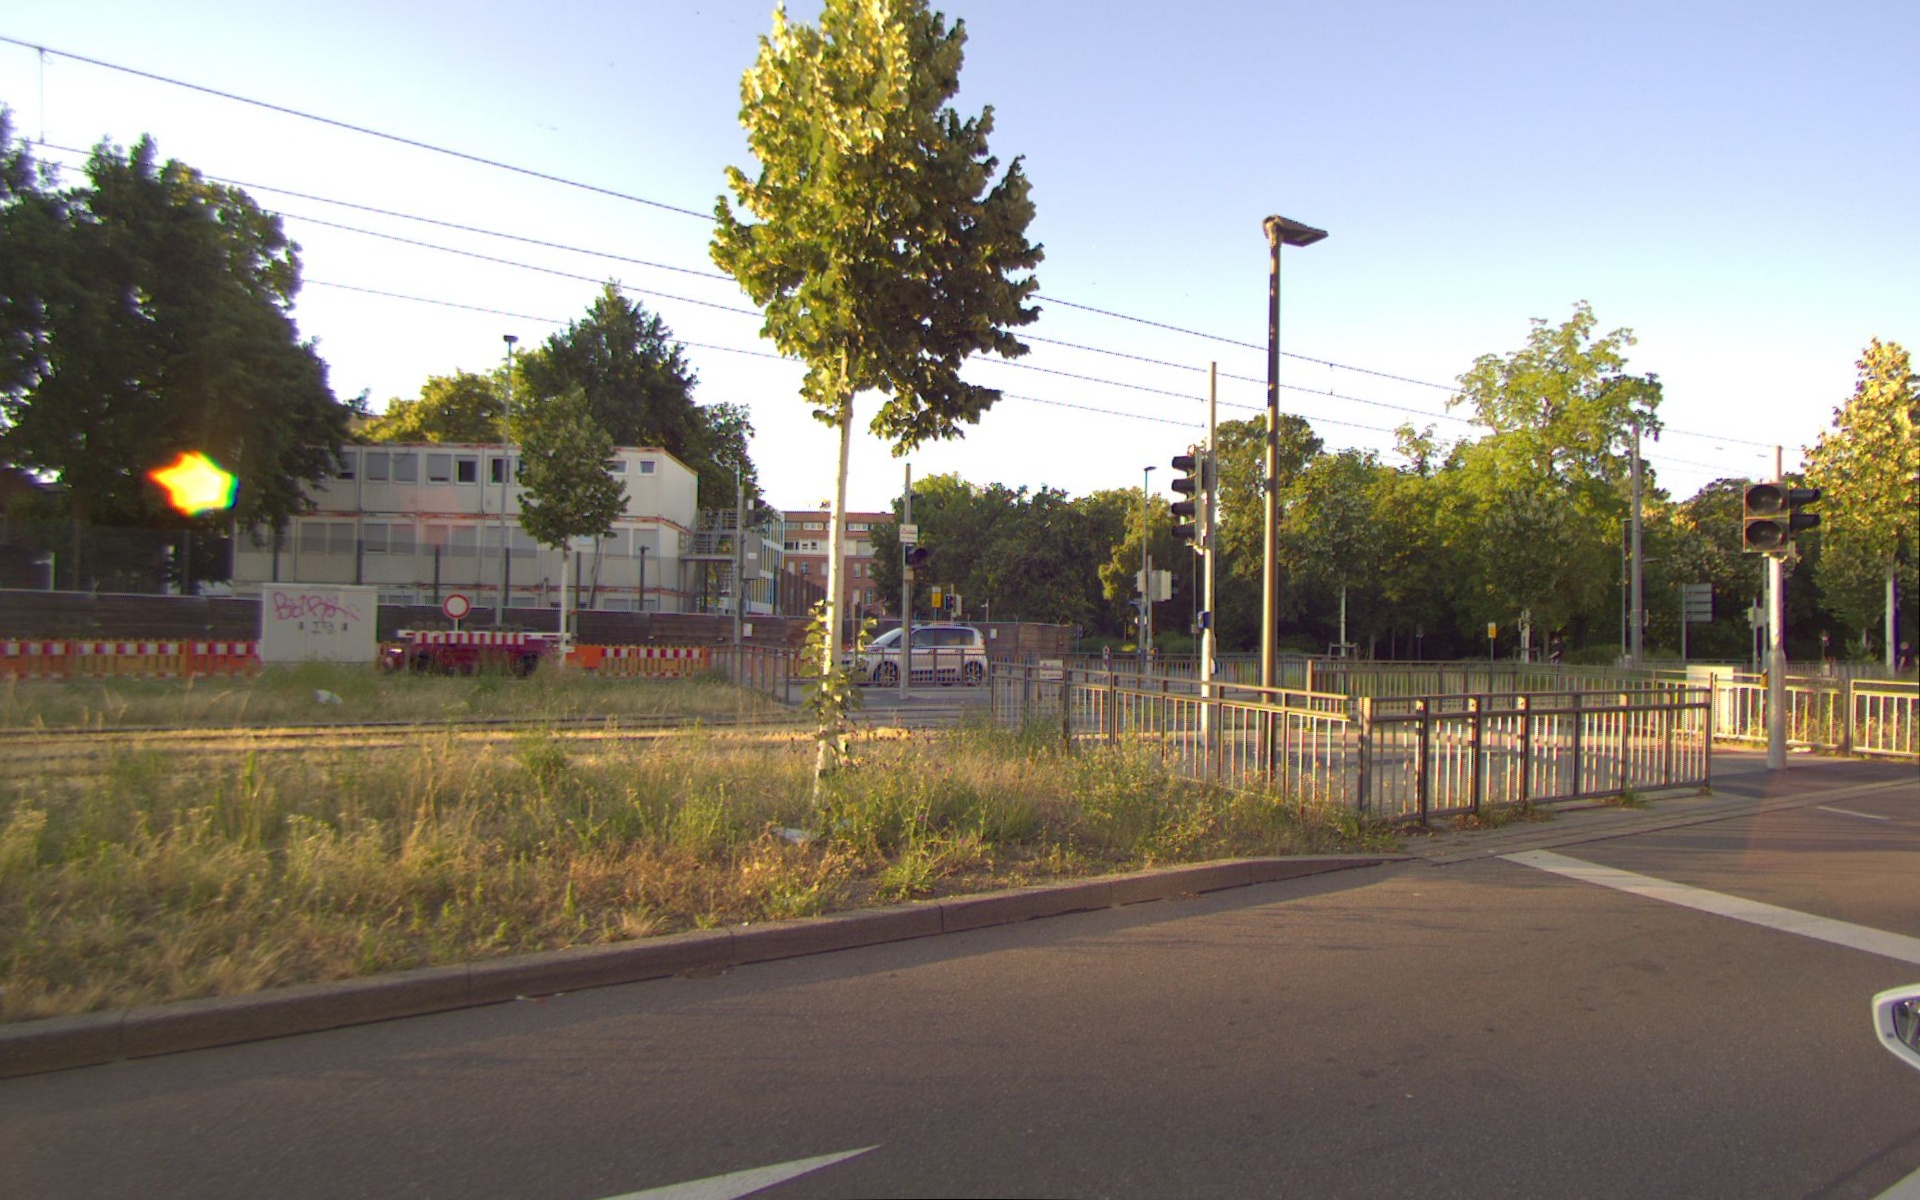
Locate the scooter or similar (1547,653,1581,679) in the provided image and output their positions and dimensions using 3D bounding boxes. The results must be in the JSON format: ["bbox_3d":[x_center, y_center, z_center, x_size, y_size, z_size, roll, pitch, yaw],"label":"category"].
[{"bbox_3d":[28.300,3.085,47.067,1.307,1.168,0.514,1,-2,3],"label":"scooter or similar"}]

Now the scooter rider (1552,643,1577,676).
[{"bbox_3d":[28.329,2.782,47.096,0.807,1.534,0.653,1,-2,3],"label":"scooter rider"}]

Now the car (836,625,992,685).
[{"bbox_3d":[-1.204,1.447,26.672,3.738,1.500,1.792,2,-2,-30],"label":"car"}]

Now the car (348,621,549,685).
[{"bbox_3d":[-13.161,1.320,25.999,4.469,1.501,1.984,1,0,-30],"label":"car"}]

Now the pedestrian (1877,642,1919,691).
[{"bbox_3d":[31.579,2.226,33.758,0.799,1.607,0.835,1,-2,-17],"label":"pedestrian"}]
